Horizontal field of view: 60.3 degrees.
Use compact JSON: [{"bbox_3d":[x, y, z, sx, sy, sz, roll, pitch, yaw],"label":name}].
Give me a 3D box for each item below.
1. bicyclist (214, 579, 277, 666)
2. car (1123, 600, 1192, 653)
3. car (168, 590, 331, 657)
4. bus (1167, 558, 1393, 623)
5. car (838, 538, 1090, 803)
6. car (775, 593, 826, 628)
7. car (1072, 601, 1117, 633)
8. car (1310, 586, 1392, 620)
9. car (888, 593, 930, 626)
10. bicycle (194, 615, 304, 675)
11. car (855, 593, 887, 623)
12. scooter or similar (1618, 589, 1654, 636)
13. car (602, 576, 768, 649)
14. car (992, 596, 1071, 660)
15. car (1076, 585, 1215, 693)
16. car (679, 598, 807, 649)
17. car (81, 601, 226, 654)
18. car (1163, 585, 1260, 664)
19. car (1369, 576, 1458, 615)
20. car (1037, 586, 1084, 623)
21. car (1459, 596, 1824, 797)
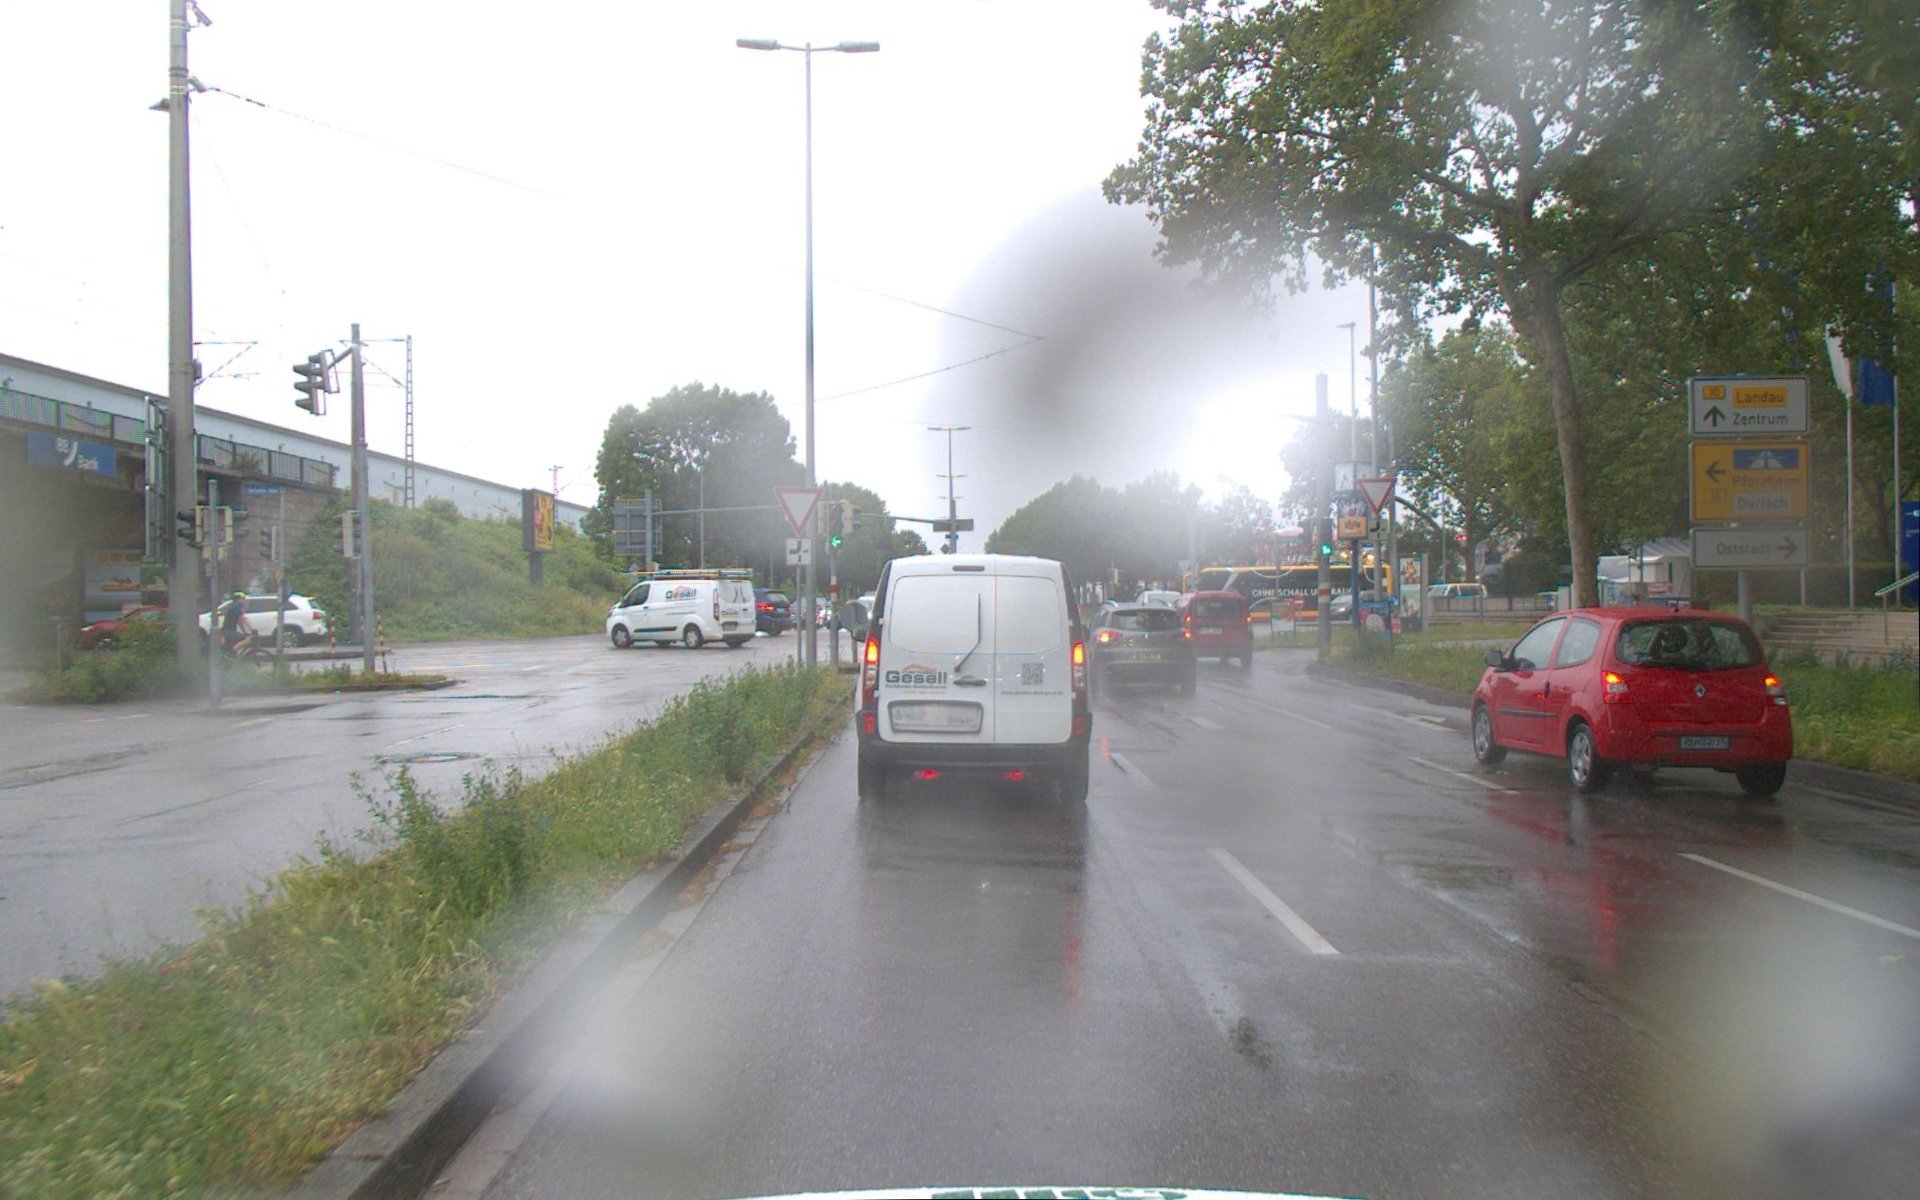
[{"bbox_3d":[-13.664,0.431,31.632,1.032,1.621,0.797,1,-1,-29],"label":"bicyclist"},{"bbox_3d":[6.410,0.827,54.023,1.805,1.646,4.000,1,0,0],"label":"car"},{"bbox_3d":[-21.532,0.688,50.327,4.360,1.878,1.989,-1,0,-19],"label":"car"},{"bbox_3d":[17.821,-0.515,92.661,12.000,3.325,3.274,-1,0,-1],"label":"bus"},{"bbox_3d":[0.008,0.483,13.391,1.720,1.808,3.999,1,0,-1],"label":"car"},{"bbox_3d":[-8.128,0.511,84.477,1.980,1.686,4.063,-1,0,3],"label":"car"},{"bbox_3d":[6.901,0.872,85.285,1.953,1.587,3.999,1,0,0],"label":"car"},{"bbox_3d":[20.460,0.158,86.492,4.297,1.680,1.907,-1,0,-38],"label":"car"},{"bbox_3d":[-2.815,0.504,92.373,2.124,1.750,4.303,-1,0,1],"label":"car"},{"bbox_3d":[-13.606,0.841,31.657,1.885,1.114,0.688,0,0,-28],"label":"bicycle"},{"bbox_3d":[-5.428,0.474,101.519,1.827,1.750,3.999,-1,0,-2],"label":"car"},{"bbox_3d":[17.127,0.314,41.876,1.164,1.158,0.336,-2,0,-41],"label":"scooter or similar"},{"bbox_3d":[-8.050,0.362,48.300,4.722,1.990,1.993,-1,1,35],"label":"car"},{"bbox_3d":[1.961,0.746,46.463,1.799,1.684,3.997,1,0,-3],"label":"car"},{"bbox_3d":[3.011,0.610,27.560,1.805,1.646,3.999,1,0,-1],"label":"car"},{"bbox_3d":[-7.401,0.794,56.451,3.853,1.647,1.999,-1,0,25],"label":"car"},{"bbox_3d":[-25.438,0.838,52.204,3.952,1.529,1.751,-1,1,-34],"label":"car"},{"bbox_3d":[5.660,0.520,37.521,1.599,1.684,3.484,1,0,-1],"label":"car"},{"bbox_3d":[23.425,-0.242,85.341,4.696,1.881,2.050,-1,0,-38],"label":"car"},{"bbox_3d":[4.465,0.171,74.161,1.952,1.601,4.001,0,1,1],"label":"car"},{"bbox_3d":[5.713,0.726,14.350,1.644,1.517,3.621,0,0,-1],"label":"car"}]
